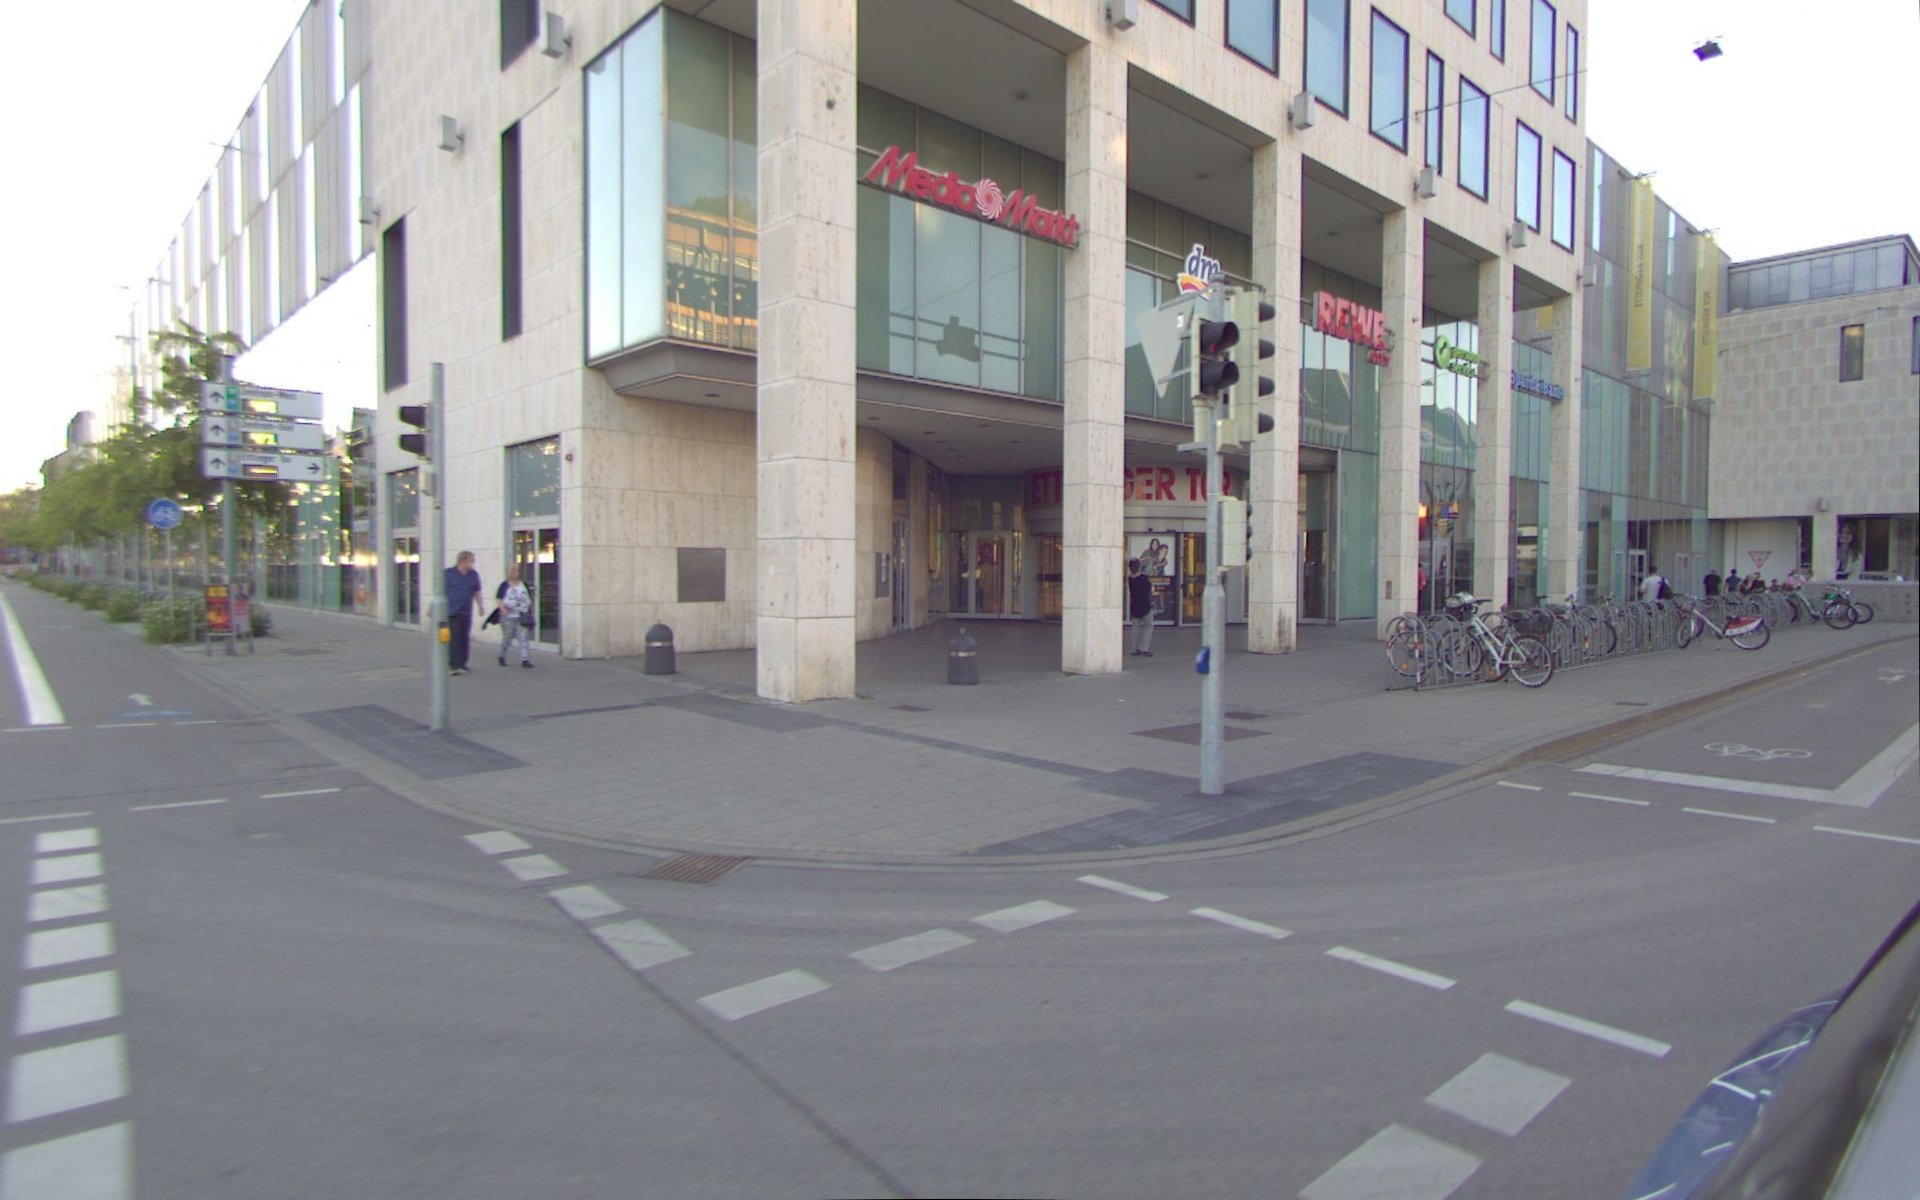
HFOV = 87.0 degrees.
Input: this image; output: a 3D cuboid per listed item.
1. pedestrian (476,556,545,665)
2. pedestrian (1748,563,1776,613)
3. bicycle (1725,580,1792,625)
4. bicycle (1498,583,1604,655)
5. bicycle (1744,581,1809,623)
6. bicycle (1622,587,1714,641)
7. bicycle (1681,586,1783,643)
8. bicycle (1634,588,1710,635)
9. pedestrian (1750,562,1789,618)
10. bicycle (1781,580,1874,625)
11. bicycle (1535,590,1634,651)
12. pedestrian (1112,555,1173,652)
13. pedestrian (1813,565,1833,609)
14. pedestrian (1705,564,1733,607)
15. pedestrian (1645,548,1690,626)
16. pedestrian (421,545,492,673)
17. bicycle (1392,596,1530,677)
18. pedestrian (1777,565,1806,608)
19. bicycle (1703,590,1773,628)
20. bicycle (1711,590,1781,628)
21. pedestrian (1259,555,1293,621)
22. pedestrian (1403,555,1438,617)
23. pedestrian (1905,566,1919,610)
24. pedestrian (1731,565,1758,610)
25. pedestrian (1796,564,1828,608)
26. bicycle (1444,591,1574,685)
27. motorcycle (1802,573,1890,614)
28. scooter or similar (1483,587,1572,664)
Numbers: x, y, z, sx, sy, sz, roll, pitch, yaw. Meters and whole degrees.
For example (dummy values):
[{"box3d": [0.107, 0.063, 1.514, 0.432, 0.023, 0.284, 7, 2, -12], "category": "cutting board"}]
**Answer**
[{"box3d": [-6.653, 0.136, 14.980, 0.665, 1.565, 0.716, 1, 2, 37], "category": "pedestrian"}, {"box3d": [29.713, -0.457, 37.505, 0.798, 1.802, 0.619, -1, 2, -38], "category": "pedestrian"}, {"box3d": [21.763, 0.073, 27.585, 0.509, 1.178, 1.344, -1, -1, -42], "category": "bicycle"}, {"box3d": [10.670, 0.330, 18.299, 0.607, 1.243, 1.517, -1, -1, -41], "category": "bicycle"}, {"box3d": [23.319, 0.053, 28.917, 0.509, 1.178, 1.344, -1, -1, -42], "category": "bicycle"}, {"box3d": [15.339, 0.295, 21.967, 0.570, 1.138, 1.519, -1, 0, -37], "category": "bicycle"}, {"box3d": [15.223, 0.283, 19.975, 0.458, 1.077, 1.517, -1, 0, -40], "category": "bicycle"}, {"box3d": [16.962, 0.267, 24.116, 1.439, 1.078, 0.572, -1, -1, 39], "category": "bicycle"}, {"box3d": [24.392, -0.311, 30.514, 0.801, 1.663, 0.640, 1, 2, 31], "category": "pedestrian"}, {"box3d": [23.498, 0.077, 27.443, 0.458, 1.161, 1.837, -1, 0, -39], "category": "bicycle"}, {"box3d": [11.898, 0.377, 19.309, 0.543, 1.120, 1.516, -1, -1, -43], "category": "bicycle"}, {"box3d": [3.211, 0.036, 17.842, 0.696, 1.658, 0.792, -1, 2, -42], "category": "pedestrian"}, {"box3d": [35.657, -0.541, 41.827, 0.645, 1.765, 0.494, -1, 2, -38], "category": "pedestrian"}, {"box3d": [29.483, -0.572, 39.304, 0.739, 1.668, 0.807, 2, 2, 45], "category": "pedestrian"}, {"box3d": [15.945, -0.303, 22.829, 0.621, 1.713, 0.704, 1, 1, 19], "category": "pedestrian"}, {"box3d": [-7.131, 0.101, 14.343, 0.665, 1.745, 0.582, 1, 5, 37], "category": "pedestrian"}, {"box3d": [7.463, 0.511, 15.134, 1.768, 1.091, 0.475, 2, 2, 43], "category": "bicycle"}, {"box3d": [34.815, -0.578, 42.363, 0.645, 1.765, 0.794, -1, 2, -38], "category": "pedestrian"}, {"box3d": [19.887, 0.242, 25.888, 0.509, 0.944, 1.344, -1, 0, -42], "category": "bicycle"}, {"box3d": [20.396, 0.238, 26.269, 0.509, 0.944, 1.344, -1, 0, -42], "category": "bicycle"}, {"box3d": [8.055, -0.317, 25.833, 0.618, 1.672, 0.708, 0, 1, 1], "category": "pedestrian"}, {"box3d": [12.668, -0.383, 27.845, 0.695, 1.672, 0.629, -1, 2, -40], "category": "pedestrian"}, {"box3d": [38.253, -0.481, 40.519, 0.484, 1.765, 0.516, -1, 2, -38], "category": "pedestrian"}, {"box3d": [30.084, -0.488, 38.792, 0.696, 1.717, 0.807, 2, 2, 45], "category": "pedestrian"}, {"box3d": [34.717, -0.594, 41.225, 0.924, 1.765, 0.793, -1, 2, -38], "category": "pedestrian"}, {"box3d": [7.559, 0.490, 13.993, 0.538, 1.198, 1.484, 0, 2, -35], "category": "bicycle"}, {"box3d": [27.590, -0.220, 31.534, 0.473, 1.239, 2.003, -1, 2, -43], "category": "motorcycle"}, {"box3d": [9.466, 0.402, 16.901, 0.485, 1.214, 1.194, -1, 2, -45], "category": "scooter or similar"}]
